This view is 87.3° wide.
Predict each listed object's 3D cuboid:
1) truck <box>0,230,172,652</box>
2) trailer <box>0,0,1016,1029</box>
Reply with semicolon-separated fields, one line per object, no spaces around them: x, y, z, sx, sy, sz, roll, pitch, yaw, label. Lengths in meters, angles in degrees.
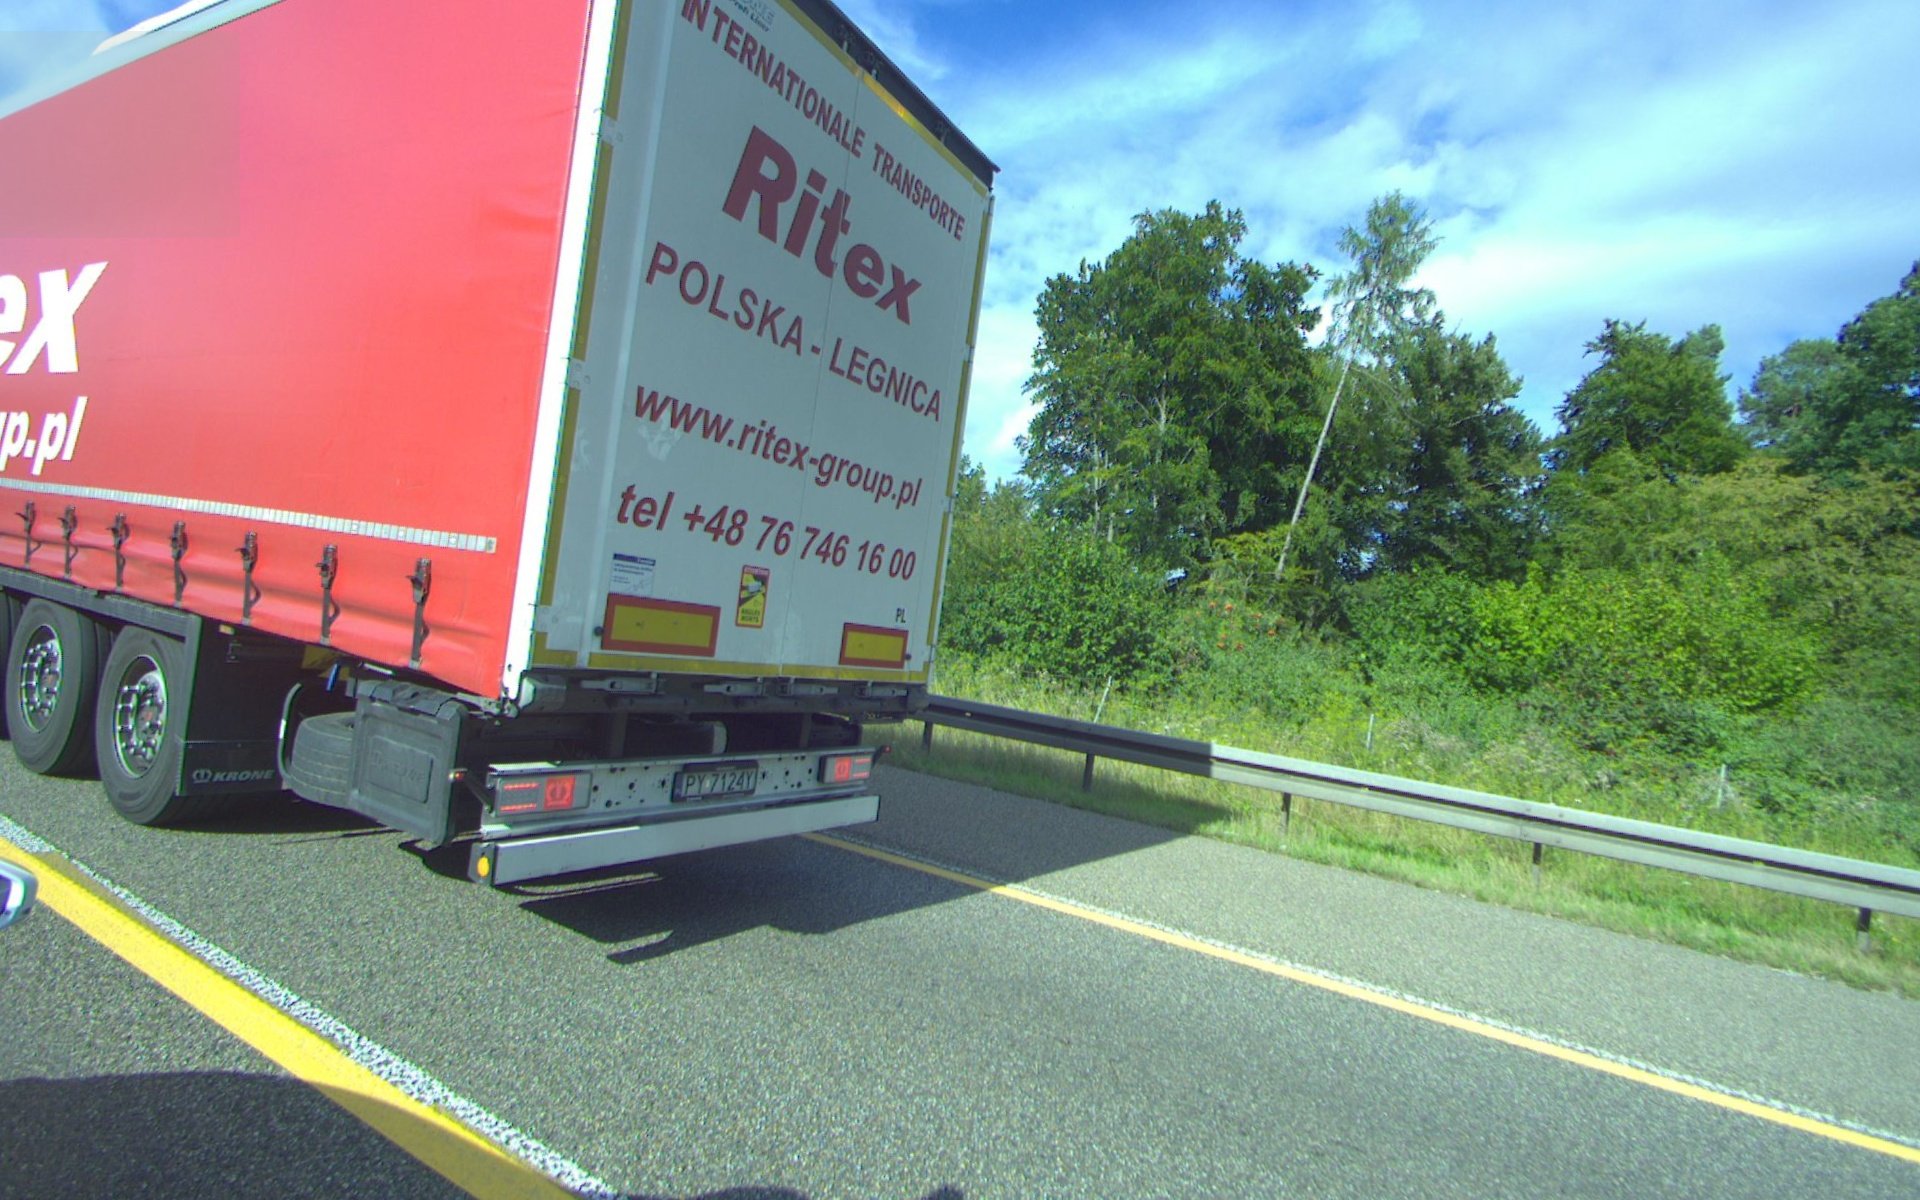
-11.829;-1.839;11.164;5.615;4.006;2.673;7;-1;31;truck
-6.224;-1.183;7.736;13.193;4.015;2.705;7;-1;31;trailer
